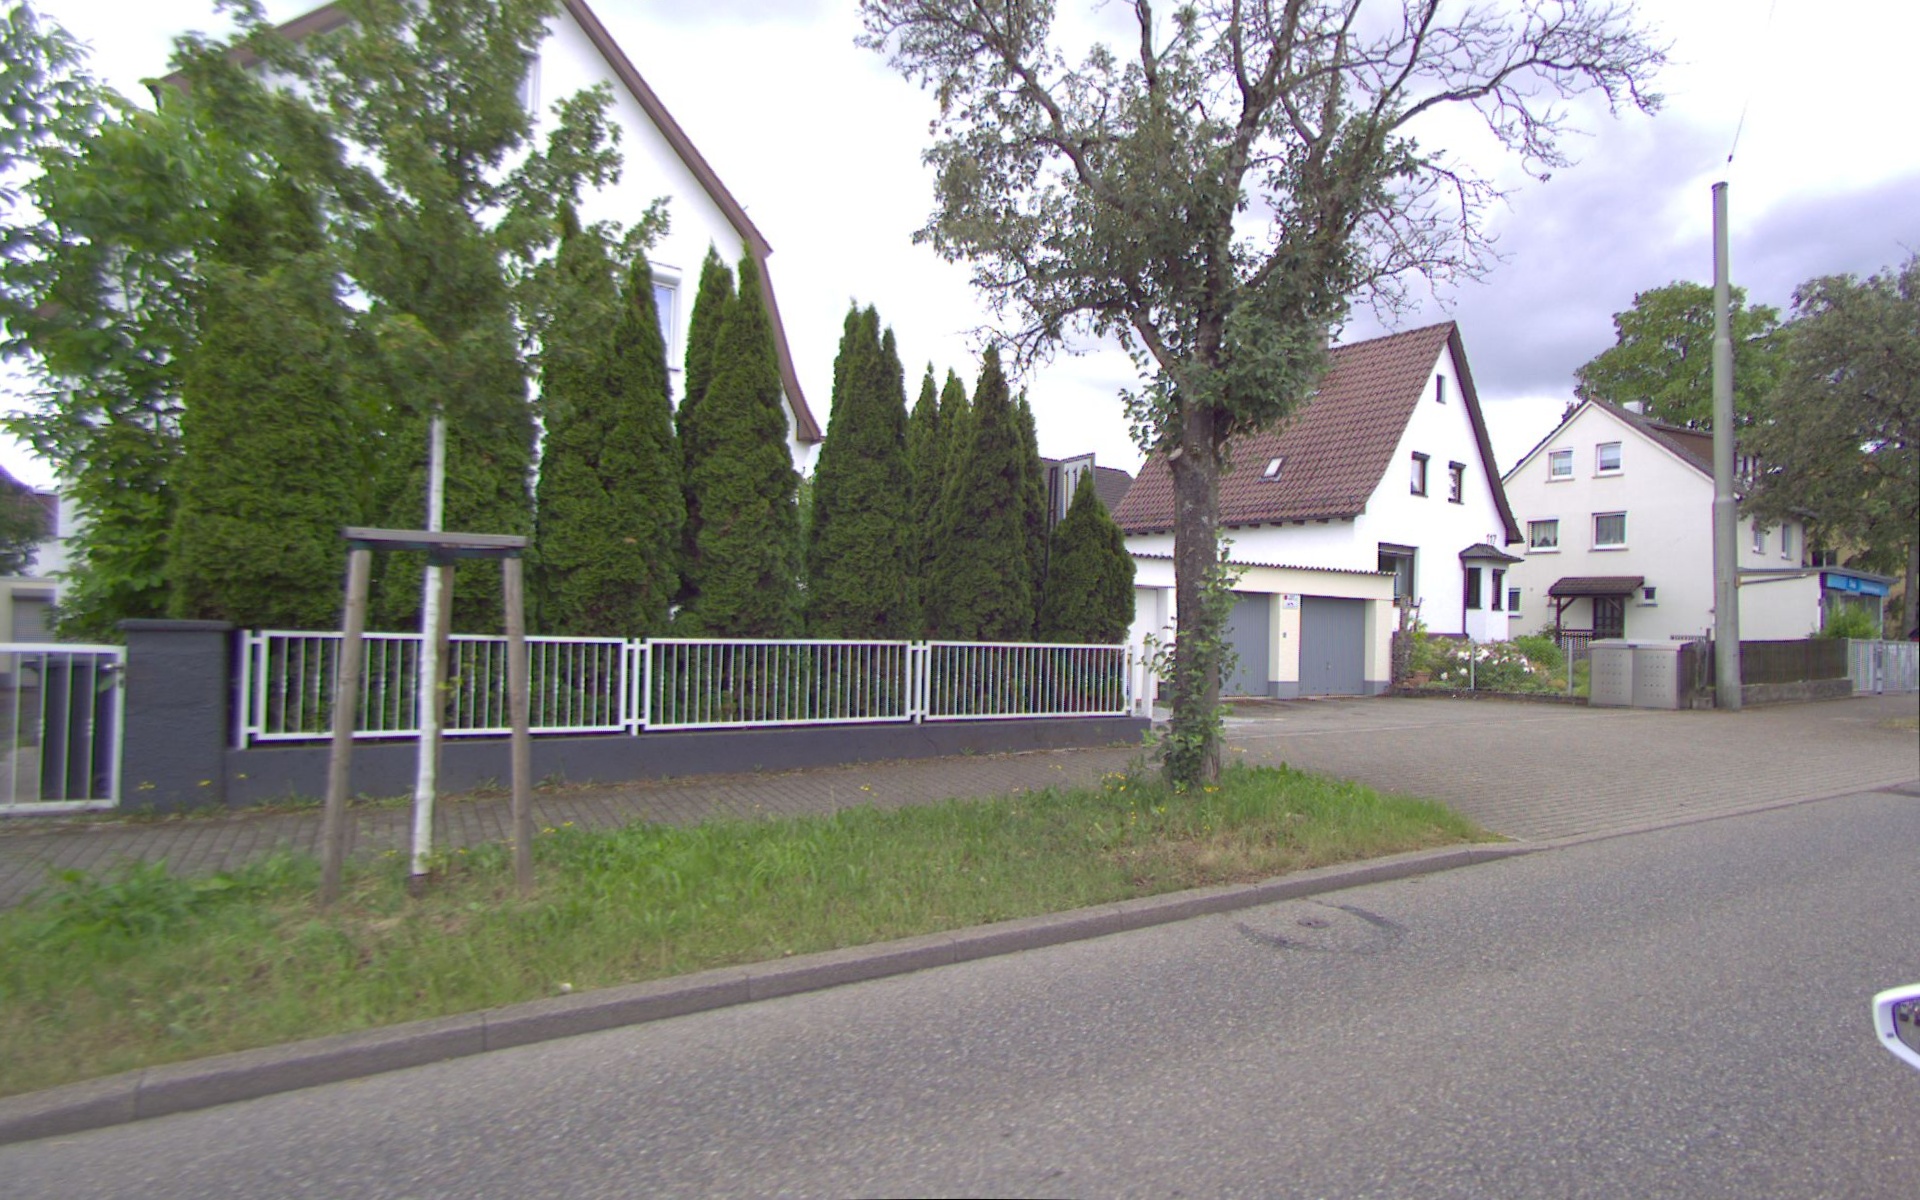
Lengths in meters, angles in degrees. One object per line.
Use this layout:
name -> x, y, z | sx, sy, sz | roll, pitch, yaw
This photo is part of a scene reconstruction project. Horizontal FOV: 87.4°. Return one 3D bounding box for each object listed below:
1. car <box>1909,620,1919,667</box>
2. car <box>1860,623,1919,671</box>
car -> 34.990, 1.565, 33.601 | 1.950, 1.639, 4.313 | 2, 0, -29
car -> 30.301, 1.523, 30.403 | 1.799, 1.386, 4.247 | 2, 1, -37
